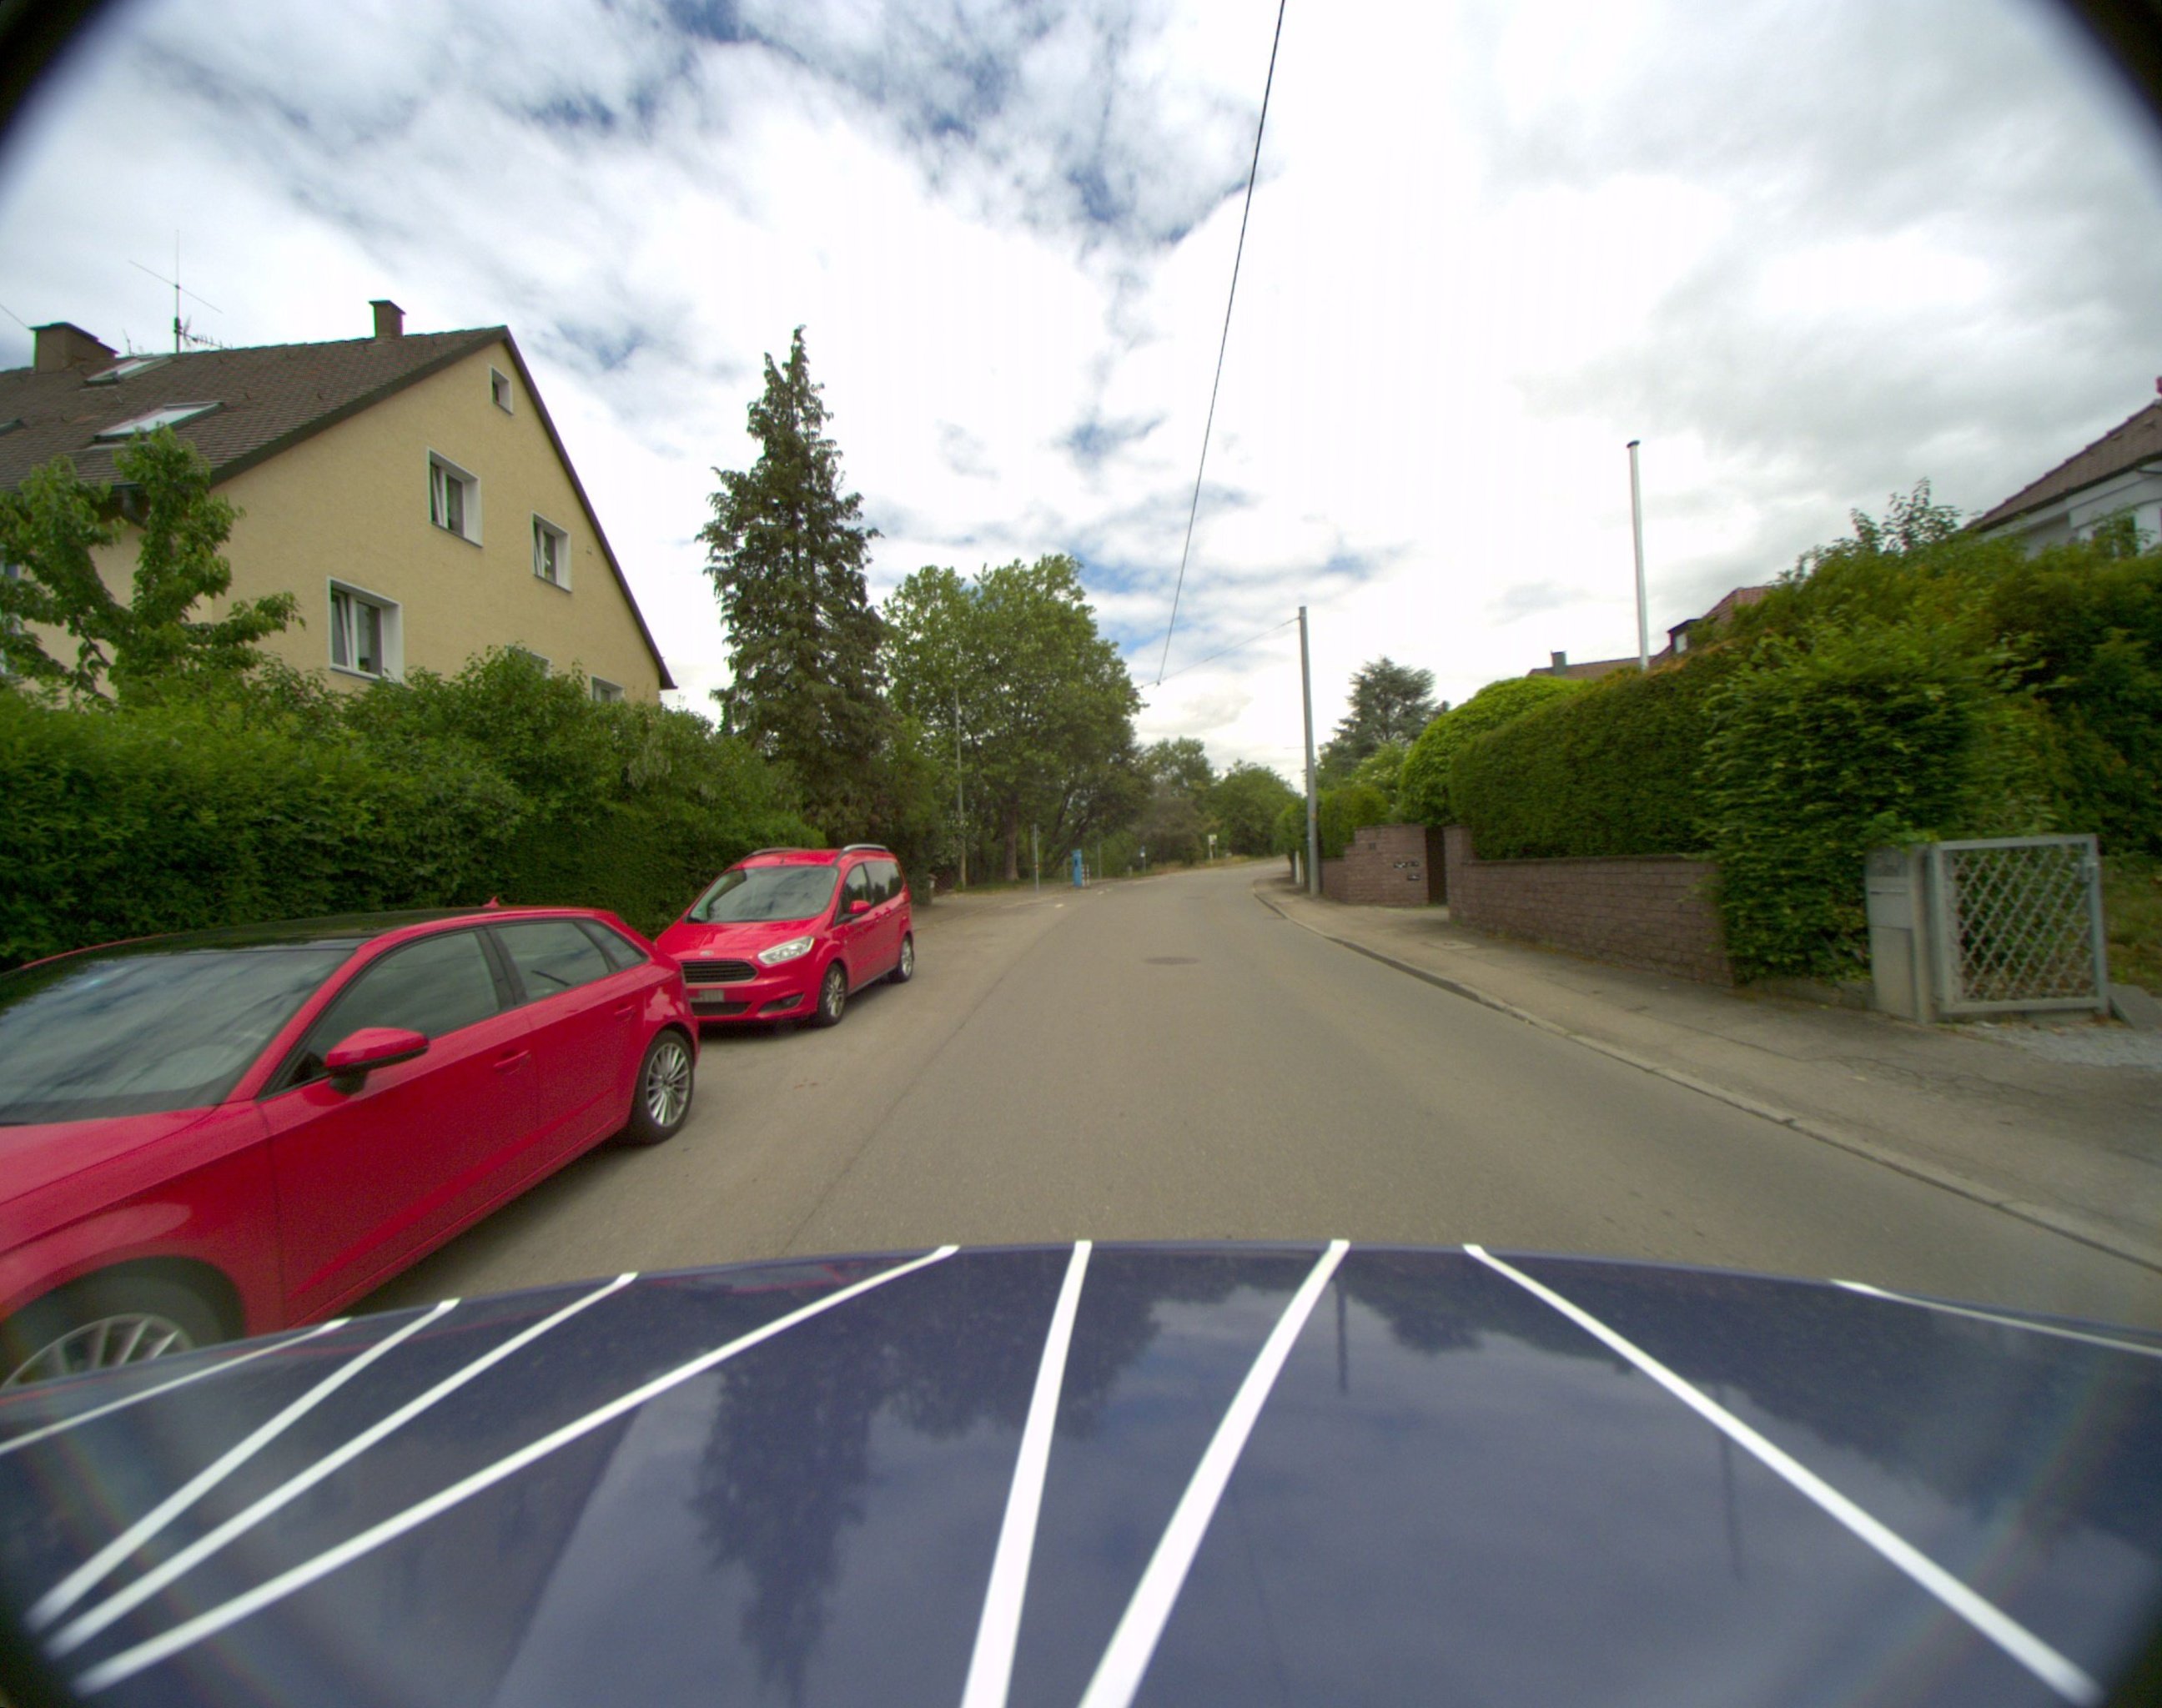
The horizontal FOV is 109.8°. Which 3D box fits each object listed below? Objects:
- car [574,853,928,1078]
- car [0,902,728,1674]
[{"bbox_3d":[-3.120,0.915,8.286,1.771,1.755,4.162,-3,0,3],"label":"car"},{"bbox_3d":[-3.192,1.075,2.799,1.704,1.421,4.394,-3,0,-1],"label":"car"}]
